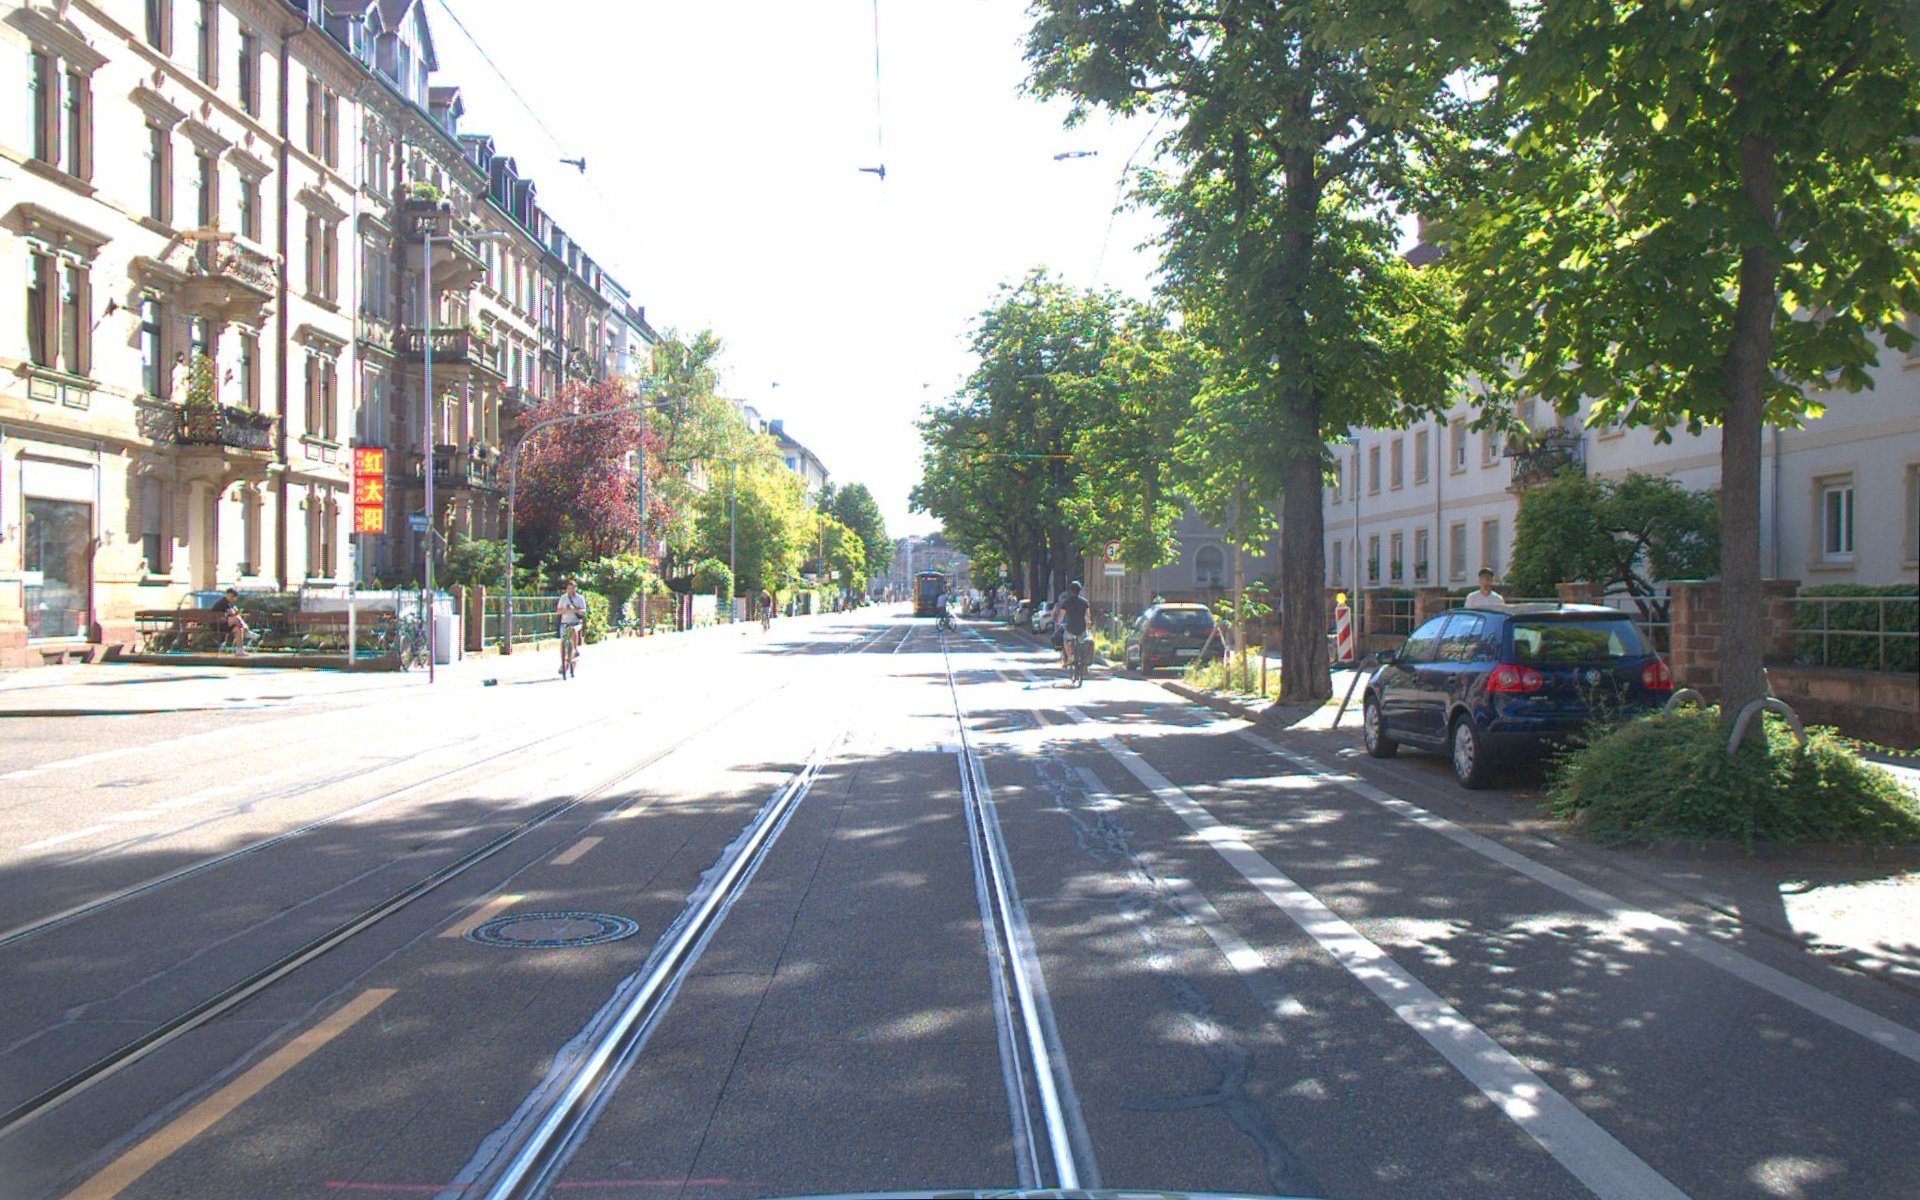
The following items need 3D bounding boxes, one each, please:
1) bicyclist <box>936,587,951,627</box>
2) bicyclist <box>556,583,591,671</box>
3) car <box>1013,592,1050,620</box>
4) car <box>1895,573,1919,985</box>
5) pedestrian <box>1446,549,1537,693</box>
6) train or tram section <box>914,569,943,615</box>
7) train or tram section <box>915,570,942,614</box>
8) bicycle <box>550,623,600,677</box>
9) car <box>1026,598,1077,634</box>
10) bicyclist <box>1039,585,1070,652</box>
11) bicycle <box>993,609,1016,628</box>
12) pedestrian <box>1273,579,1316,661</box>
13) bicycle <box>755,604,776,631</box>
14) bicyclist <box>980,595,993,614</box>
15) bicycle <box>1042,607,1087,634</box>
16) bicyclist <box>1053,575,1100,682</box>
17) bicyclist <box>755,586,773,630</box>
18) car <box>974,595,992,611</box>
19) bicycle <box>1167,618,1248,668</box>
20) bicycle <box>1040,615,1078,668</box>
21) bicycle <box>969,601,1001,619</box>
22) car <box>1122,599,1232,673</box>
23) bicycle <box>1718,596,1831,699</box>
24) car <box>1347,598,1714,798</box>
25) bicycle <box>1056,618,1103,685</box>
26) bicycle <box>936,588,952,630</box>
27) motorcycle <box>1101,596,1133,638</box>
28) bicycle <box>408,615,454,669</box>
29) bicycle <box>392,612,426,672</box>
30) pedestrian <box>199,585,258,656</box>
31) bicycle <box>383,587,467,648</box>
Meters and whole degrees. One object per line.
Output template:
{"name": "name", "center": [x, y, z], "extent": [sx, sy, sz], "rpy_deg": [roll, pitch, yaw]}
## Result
{"name": "bicyclist", "center": [-0.779, 0.310, 75.862], "extent": [0.632, 1.827, 0.955], "rpy_deg": [2, 0, -1]}
{"name": "bicyclist", "center": [-7.373, 0.507, 31.602], "extent": [0.455, 1.647, 0.744], "rpy_deg": [-2, 0, -1]}
{"name": "car", "center": [3.847, 0.327, 89.483], "extent": [1.713, 1.445, 3.999], "rpy_deg": [-1, 0, -2]}
{"name": "car", "center": [5.057, 0.791, 5.294], "extent": [1.632, 1.792, 4.230], "rpy_deg": [0, 0, -2]}
{"name": "pedestrian", "center": [6.877, 0.267, 21.434], "extent": [0.593, 1.801, 0.903], "rpy_deg": [-2, 0, -31]}
{"name": "train or tram section", "center": [-2.494, -0.657, 130.705], "extent": [2.110, 3.491, 6.609], "rpy_deg": [2, 0, -1]}
{"name": "train or tram section", "center": [-2.625, -0.667, 137.348], "extent": [2.110, 3.491, 6.609], "rpy_deg": [2, 0, -1]}
{"name": "bicycle", "center": [-7.356, 0.938, 31.656], "extent": [0.451, 0.942, 2.202], "rpy_deg": [-1, 0, -1]}
{"name": "car", "center": [3.901, 0.660, 71.150], "extent": [1.596, 1.461, 4.661], "rpy_deg": [0, 0, -4]}
{"name": "bicyclist", "center": [2.150, 0.418, 37.540], "extent": [0.622, 1.494, 0.616], "rpy_deg": [2, 0, -1]}
{"name": "bicycle", "center": [2.559, 1.071, 94.896], "extent": [1.243, 1.042, 0.704], "rpy_deg": [2, -1, 7]}
{"name": "pedestrian", "center": [7.321, 0.441, 36.179], "extent": [0.748, 1.754, 0.579], "rpy_deg": [2, 0, 28]}
{"name": "bicycle", "center": [-8.311, 0.741, 70.762], "extent": [0.677, 1.132, 1.718], "rpy_deg": [-1, 0, -1]}
{"name": "bicyclist", "center": [1.863, 0.320, 115.670], "extent": [0.756, 1.314, 0.734], "rpy_deg": [2, 0, 15]}
{"name": "bicycle", "center": [4.290, 0.841, 68.095], "extent": [1.756, 1.037, 0.620], "rpy_deg": [-2, 0, -2]}
{"name": "bicyclist", "center": [2.095, 0.505, 29.714], "extent": [0.713, 1.880, 0.836], "rpy_deg": [2, 0, -2]}
{"name": "bicyclist", "center": [-8.327, 0.327, 70.337], "extent": [0.647, 1.833, 0.615], "rpy_deg": [-2, -1, -1]}
{"name": "car", "center": [2.355, 0.278, 172.530], "extent": [1.718, 1.579, 3.676], "rpy_deg": [1, 0, -1]}
{"name": "bicycle", "center": [5.748, 0.996, 38.467], "extent": [1.758, 1.086, 0.620], "rpy_deg": [-1, 0, -6]}
{"name": "bicycle", "center": [2.231, 0.918, 37.398], "extent": [0.677, 1.132, 1.917], "rpy_deg": [2, 0, -1]}
{"name": "bicycle", "center": [1.754, 0.716, 115.774], "extent": [2.094, 1.191, 0.803], "rpy_deg": [2, 0, 14]}
{"name": "car", "center": [4.618, 0.732, 35.701], "extent": [1.751, 1.489, 4.043], "rpy_deg": [0, 0, -1]}
{"name": "bicycle", "center": [10.282, 0.579, 20.927], "extent": [0.532, 1.242, 1.741], "rpy_deg": [-1, 0, -1]}
{"name": "car", "center": [4.908, 0.751, 14.899], "extent": [1.685, 1.499, 4.244], "rpy_deg": [-1, 0, -2]}
{"name": "bicycle", "center": [2.156, 0.911, 29.937], "extent": [0.677, 1.132, 1.718], "rpy_deg": [2, 0, -1]}
{"name": "bicycle", "center": [-0.731, 0.418, 76.201], "extent": [0.649, 1.891, 2.260], "rpy_deg": [2, 0, 0]}
{"name": "motorcycle", "center": [4.752, 0.512, 50.116], "extent": [0.486, 1.211, 1.858], "rpy_deg": [-3, 1, -8]}
{"name": "bicycle", "center": [-10.661, 0.838, 33.382], "extent": [0.328, 1.018, 1.869], "rpy_deg": [2, 0, -1]}
{"name": "bicycle", "center": [-10.870, 0.822, 32.646], "extent": [0.363, 1.146, 0.808], "rpy_deg": [2, 0, -1]}
{"name": "pedestrian", "center": [-14.533, 0.408, 32.870], "extent": [0.882, 1.376, 0.577], "rpy_deg": [-2, 0, 0]}
{"name": "bicycle", "center": [-12.378, 0.408, 38.297], "extent": [1.730, 1.343, 0.612], "rpy_deg": [2, 0, -11]}
